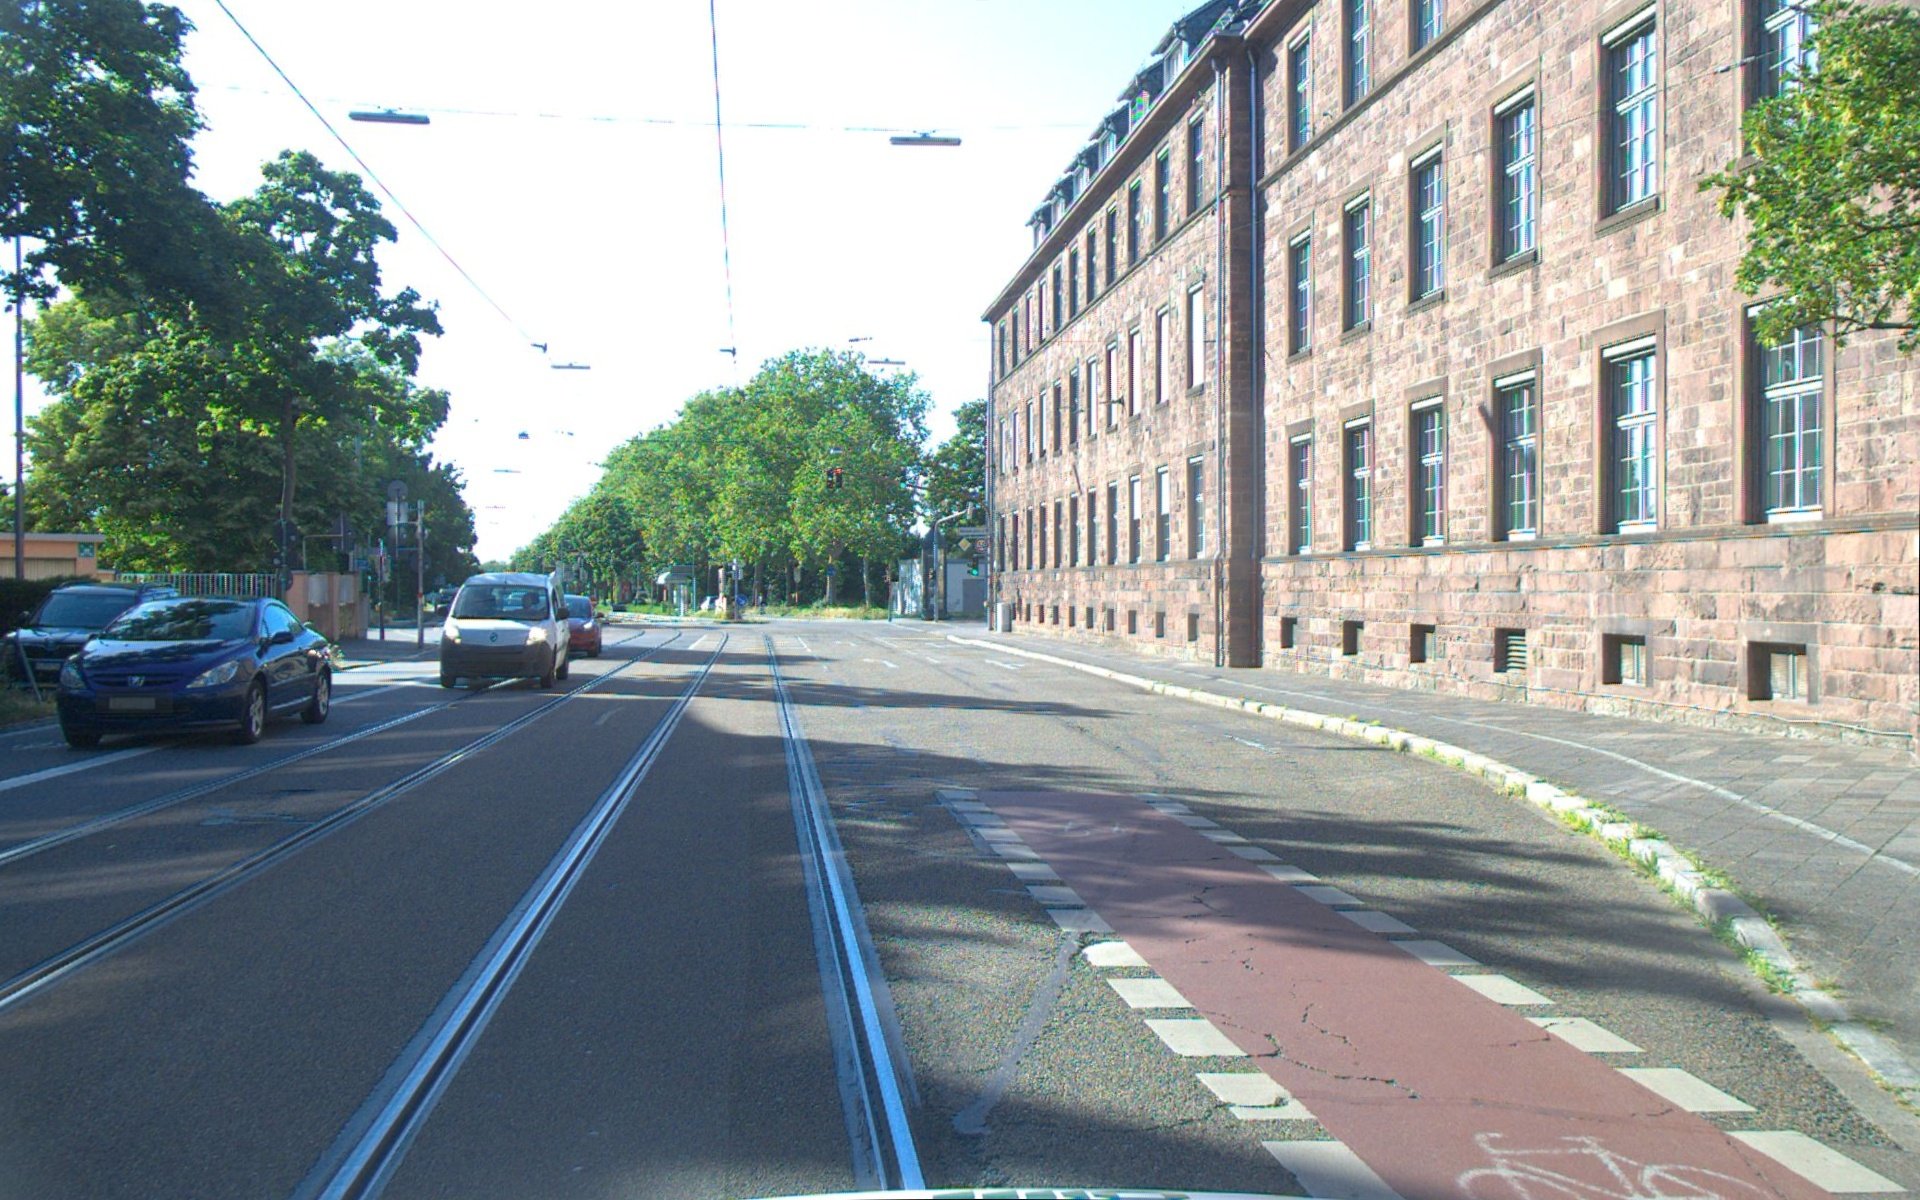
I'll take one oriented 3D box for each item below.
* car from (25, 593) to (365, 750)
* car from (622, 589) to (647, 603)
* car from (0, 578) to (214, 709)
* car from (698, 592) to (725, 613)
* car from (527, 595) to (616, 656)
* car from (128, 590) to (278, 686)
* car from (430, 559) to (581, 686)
[{"bbox_3d":[-7.695,0.641,17.140,1.774,1.411,4.436,0,0,-5],"label":"car"},{"bbox_3d":[-38.043,-0.445,193.191,1.920,1.638,3.964,0,0,-28],"label":"car"},{"bbox_3d":[-12.539,0.580,24.474,1.714,1.689,4.378,3,0,-11],"label":"car"},{"bbox_3d":[-20.017,0.175,133.371,1.909,1.638,3.988,0,0,-12],"label":"car"},{"bbox_3d":[-9.505,0.575,40.719,1.886,1.411,4.675,0,0,-10],"label":"car"},{"bbox_3d":[-13.276,0.624,29.191,1.554,1.514,3.603,3,0,-11],"label":"car"},{"bbox_3d":[-7.445,0.338,27.500,1.775,1.921,4.433,0,0,-7],"label":"car"}]
